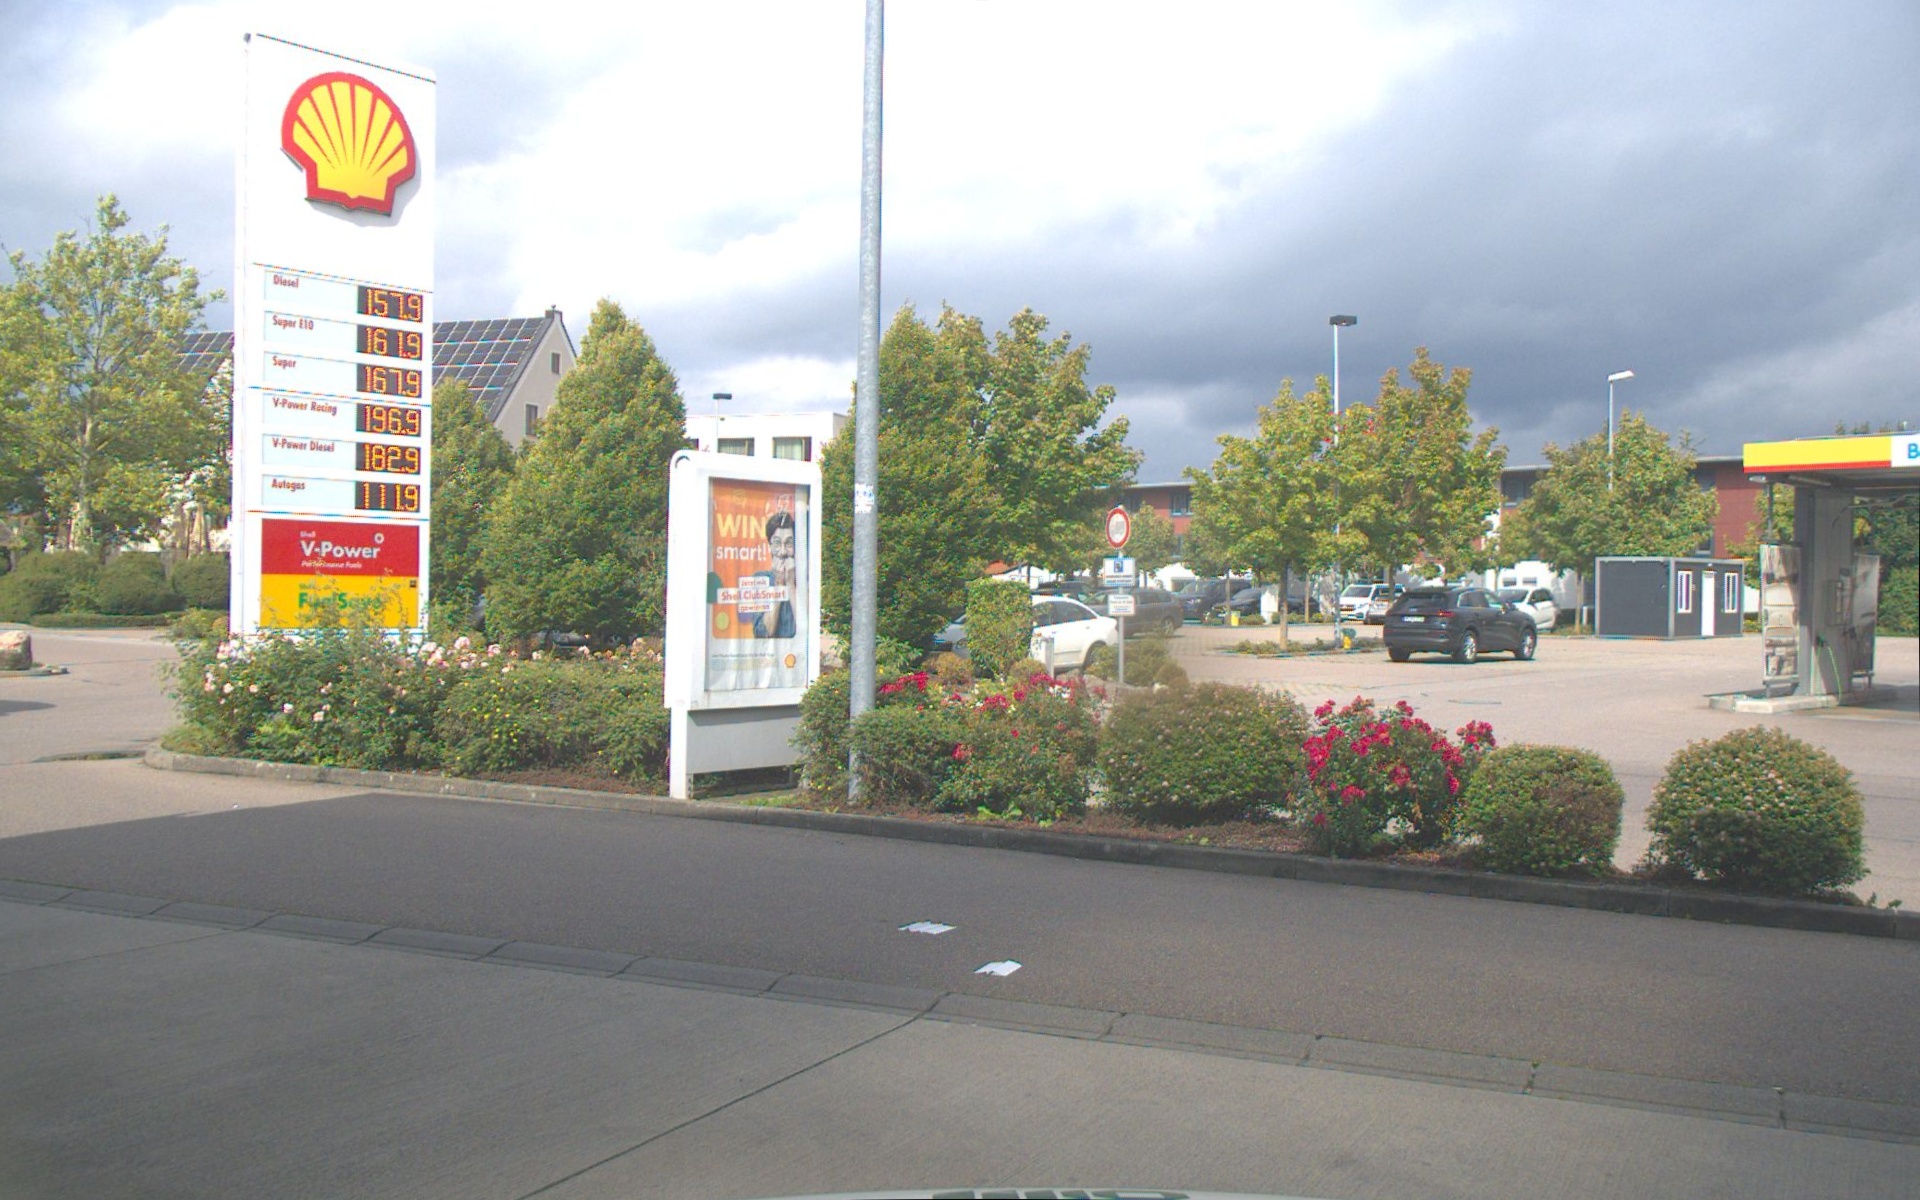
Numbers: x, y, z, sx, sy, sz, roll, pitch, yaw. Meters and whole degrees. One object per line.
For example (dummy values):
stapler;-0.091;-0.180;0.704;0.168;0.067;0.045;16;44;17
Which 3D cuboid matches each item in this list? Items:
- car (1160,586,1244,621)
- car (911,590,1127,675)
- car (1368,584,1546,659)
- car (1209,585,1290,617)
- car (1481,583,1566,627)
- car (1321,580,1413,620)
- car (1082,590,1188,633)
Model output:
car;9.823;0.140;66.945;3.364;1.343;1.719;1;0;-45
car;1.140;0.574;29.951;1.348;1.428;4.312;1;-1;45
car;11.139;0.485;36.906;4.467;1.575;1.856;1;0;-44
car;11.424;0.037;65.223;3.393;1.199;1.462;1;0;-45
car;18.018;0.169;52.818;3.080;1.330;1.346;1;-1;-45
car;19.929;0.032;80.958;4.839;1.865;2.150;1;0;-44
car;5.288;0.363;49.806;3.203;1.249;1.481;1;0;-45
